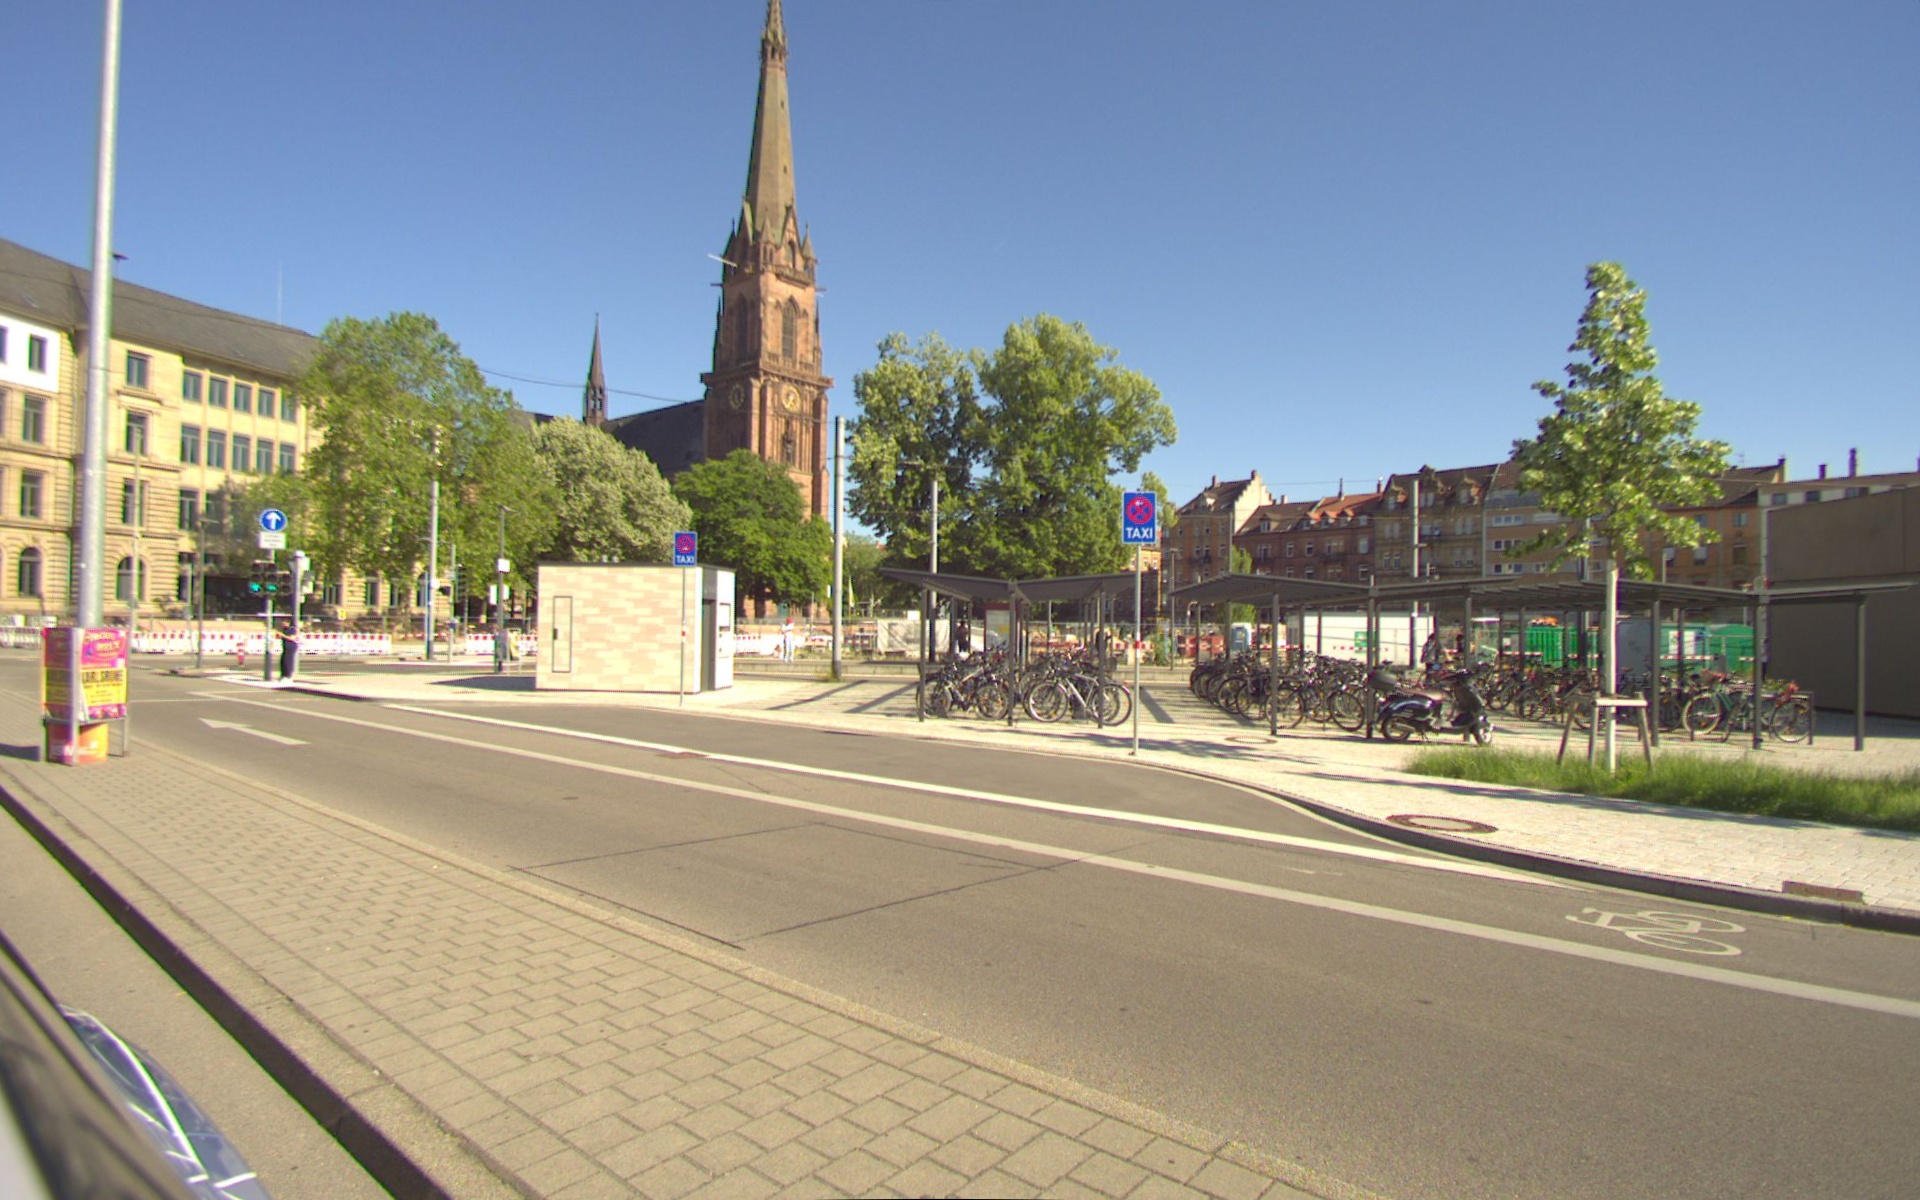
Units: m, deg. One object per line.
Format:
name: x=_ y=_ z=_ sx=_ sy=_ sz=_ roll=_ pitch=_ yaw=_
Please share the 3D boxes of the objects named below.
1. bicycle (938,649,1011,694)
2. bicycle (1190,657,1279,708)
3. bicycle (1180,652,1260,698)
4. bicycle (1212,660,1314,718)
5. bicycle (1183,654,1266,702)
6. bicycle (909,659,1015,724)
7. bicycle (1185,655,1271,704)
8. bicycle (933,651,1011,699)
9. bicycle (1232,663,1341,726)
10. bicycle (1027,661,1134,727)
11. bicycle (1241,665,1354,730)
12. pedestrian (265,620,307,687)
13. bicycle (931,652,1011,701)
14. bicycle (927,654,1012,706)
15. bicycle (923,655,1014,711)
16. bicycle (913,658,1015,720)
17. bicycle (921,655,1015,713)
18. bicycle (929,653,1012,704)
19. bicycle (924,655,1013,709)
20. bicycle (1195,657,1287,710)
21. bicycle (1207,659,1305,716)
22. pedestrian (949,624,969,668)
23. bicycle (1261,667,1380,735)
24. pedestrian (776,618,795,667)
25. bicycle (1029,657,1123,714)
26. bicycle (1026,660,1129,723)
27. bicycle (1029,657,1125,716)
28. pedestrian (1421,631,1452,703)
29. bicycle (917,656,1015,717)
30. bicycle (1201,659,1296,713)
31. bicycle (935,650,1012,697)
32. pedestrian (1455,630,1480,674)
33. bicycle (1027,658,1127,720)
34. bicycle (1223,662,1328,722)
bicycle: x=0.372 y=1.763 z=25.103 sx=1.765 sy=1.046 sz=0.567 roll=1 pitch=-3 yaw=4
bicycle: x=5.920 y=1.773 z=21.904 sx=1.765 sy=1.046 sz=0.567 roll=1 pitch=-3 yaw=4
bicycle: x=6.223 y=1.794 z=24.263 sx=1.765 sy=1.046 sz=0.567 roll=1 pitch=-3 yaw=4
bicycle: x=5.803 y=1.694 z=19.424 sx=1.765 sy=1.046 sz=0.567 roll=1 pitch=-3 yaw=4
bicycle: x=6.124 y=1.796 z=23.498 sx=1.765 sy=1.046 sz=0.567 roll=1 pitch=-3 yaw=4
bicycle: x=0.049 y=1.565 z=17.439 sx=1.765 sy=1.046 sz=0.567 roll=1 pitch=-3 yaw=4
bicycle: x=6.014 y=1.779 z=22.774 sx=1.765 sy=1.046 sz=0.567 roll=1 pitch=-3 yaw=4
bicycle: x=0.287 y=1.718 z=23.259 sx=1.765 sy=1.046 sz=0.567 roll=1 pitch=-3 yaw=4
bicycle: x=5.834 y=1.678 z=18.134 sx=1.765 sy=1.046 sz=0.567 roll=1 pitch=-3 yaw=4
bicycle: x=2.037 y=1.601 z=17.278 sx=1.765 sy=1.046 sz=0.567 roll=1 pitch=-3 yaw=4
bicycle: x=5.834 y=1.678 z=17.549 sx=1.765 sy=1.046 sz=0.567 roll=1 pitch=-3 yaw=4
pedestrian: x=-17.585 y=1.385 z=26.416 sx=0.648 sy=1.693 sz=0.779 roll=-1 pitch=0 yaw=42
bicycle: x=0.255 y=1.706 z=22.657 sx=1.765 sy=1.046 sz=0.567 roll=1 pitch=-3 yaw=4
bicycle: x=0.211 y=1.683 z=21.396 sx=1.765 sy=1.046 sz=0.567 roll=1 pitch=-3 yaw=4
bicycle: x=0.177 y=1.637 z=20.164 sx=1.765 sy=1.046 sz=0.567 roll=1 pitch=-3 yaw=4
bicycle: x=0.086 y=1.579 z=18.090 sx=1.765 sy=1.046 sz=0.567 roll=1 pitch=-3 yaw=4
bicycle: x=0.159 y=1.614 z=19.533 sx=1.765 sy=1.046 sz=0.567 roll=1 pitch=-3 yaw=4
bicycle: x=0.232 y=1.697 z=22.061 sx=1.765 sy=1.046 sz=0.567 roll=1 pitch=-3 yaw=4
bicycle: x=0.183 y=1.669 z=20.780 sx=1.765 sy=1.046 sz=0.567 roll=1 pitch=-3 yaw=4
bicycle: x=5.902 y=1.749 z=21.310 sx=1.765 sy=1.046 sz=0.567 roll=1 pitch=-3 yaw=4
bicycle: x=5.855 y=1.731 z=20.095 sx=1.765 sy=1.046 sz=0.567 roll=1 pitch=-3 yaw=4
pedestrian: x=-0.050 y=1.756 z=39.197 sx=0.518 sy=1.667 sz=0.559 roll=-1 pitch=0 yaw=41
bicycle: x=6.019 y=1.676 z=16.951 sx=1.765 sy=1.046 sz=0.567 roll=1 pitch=-3 yaw=4
pedestrian: x=-6.476 y=1.579 z=37.524 sx=0.529 sy=1.736 sz=0.684 roll=0 pitch=-6 yaw=-19
bicycle: x=2.248 y=1.654 z=19.777 sx=1.765 sy=1.046 sz=0.567 roll=1 pitch=-3 yaw=4
bicycle: x=2.067 y=1.605 z=17.928 sx=1.765 sy=1.046 sz=0.567 roll=1 pitch=-3 yaw=4
bicycle: x=2.199 y=1.635 z=19.178 sx=1.765 sy=1.046 sz=0.567 roll=1 pitch=-3 yaw=4
pedestrian: x=11.739 y=1.626 z=24.941 sx=0.616 sy=1.736 sz=0.675 roll=-1 pitch=-2 yaw=31
bicycle: x=0.121 y=1.601 z=18.845 sx=1.765 sy=1.046 sz=0.567 roll=1 pitch=-3 yaw=4
bicycle: x=5.895 y=1.749 z=20.710 sx=1.765 sy=1.046 sz=0.567 roll=1 pitch=-3 yaw=4
bicycle: x=0.333 y=1.728 z=23.850 sx=1.765 sy=1.046 sz=0.567 roll=1 pitch=-3 yaw=4
pedestrian: x=17.727 y=1.807 z=35.357 sx=0.581 sy=1.530 sz=0.559 roll=1 pitch=-2 yaw=6
bicycle: x=2.135 y=1.622 z=18.568 sx=1.765 sy=1.046 sz=0.567 roll=1 pitch=-3 yaw=4
bicycle: x=5.837 y=1.695 z=18.793 sx=1.765 sy=1.046 sz=0.567 roll=1 pitch=-3 yaw=4
